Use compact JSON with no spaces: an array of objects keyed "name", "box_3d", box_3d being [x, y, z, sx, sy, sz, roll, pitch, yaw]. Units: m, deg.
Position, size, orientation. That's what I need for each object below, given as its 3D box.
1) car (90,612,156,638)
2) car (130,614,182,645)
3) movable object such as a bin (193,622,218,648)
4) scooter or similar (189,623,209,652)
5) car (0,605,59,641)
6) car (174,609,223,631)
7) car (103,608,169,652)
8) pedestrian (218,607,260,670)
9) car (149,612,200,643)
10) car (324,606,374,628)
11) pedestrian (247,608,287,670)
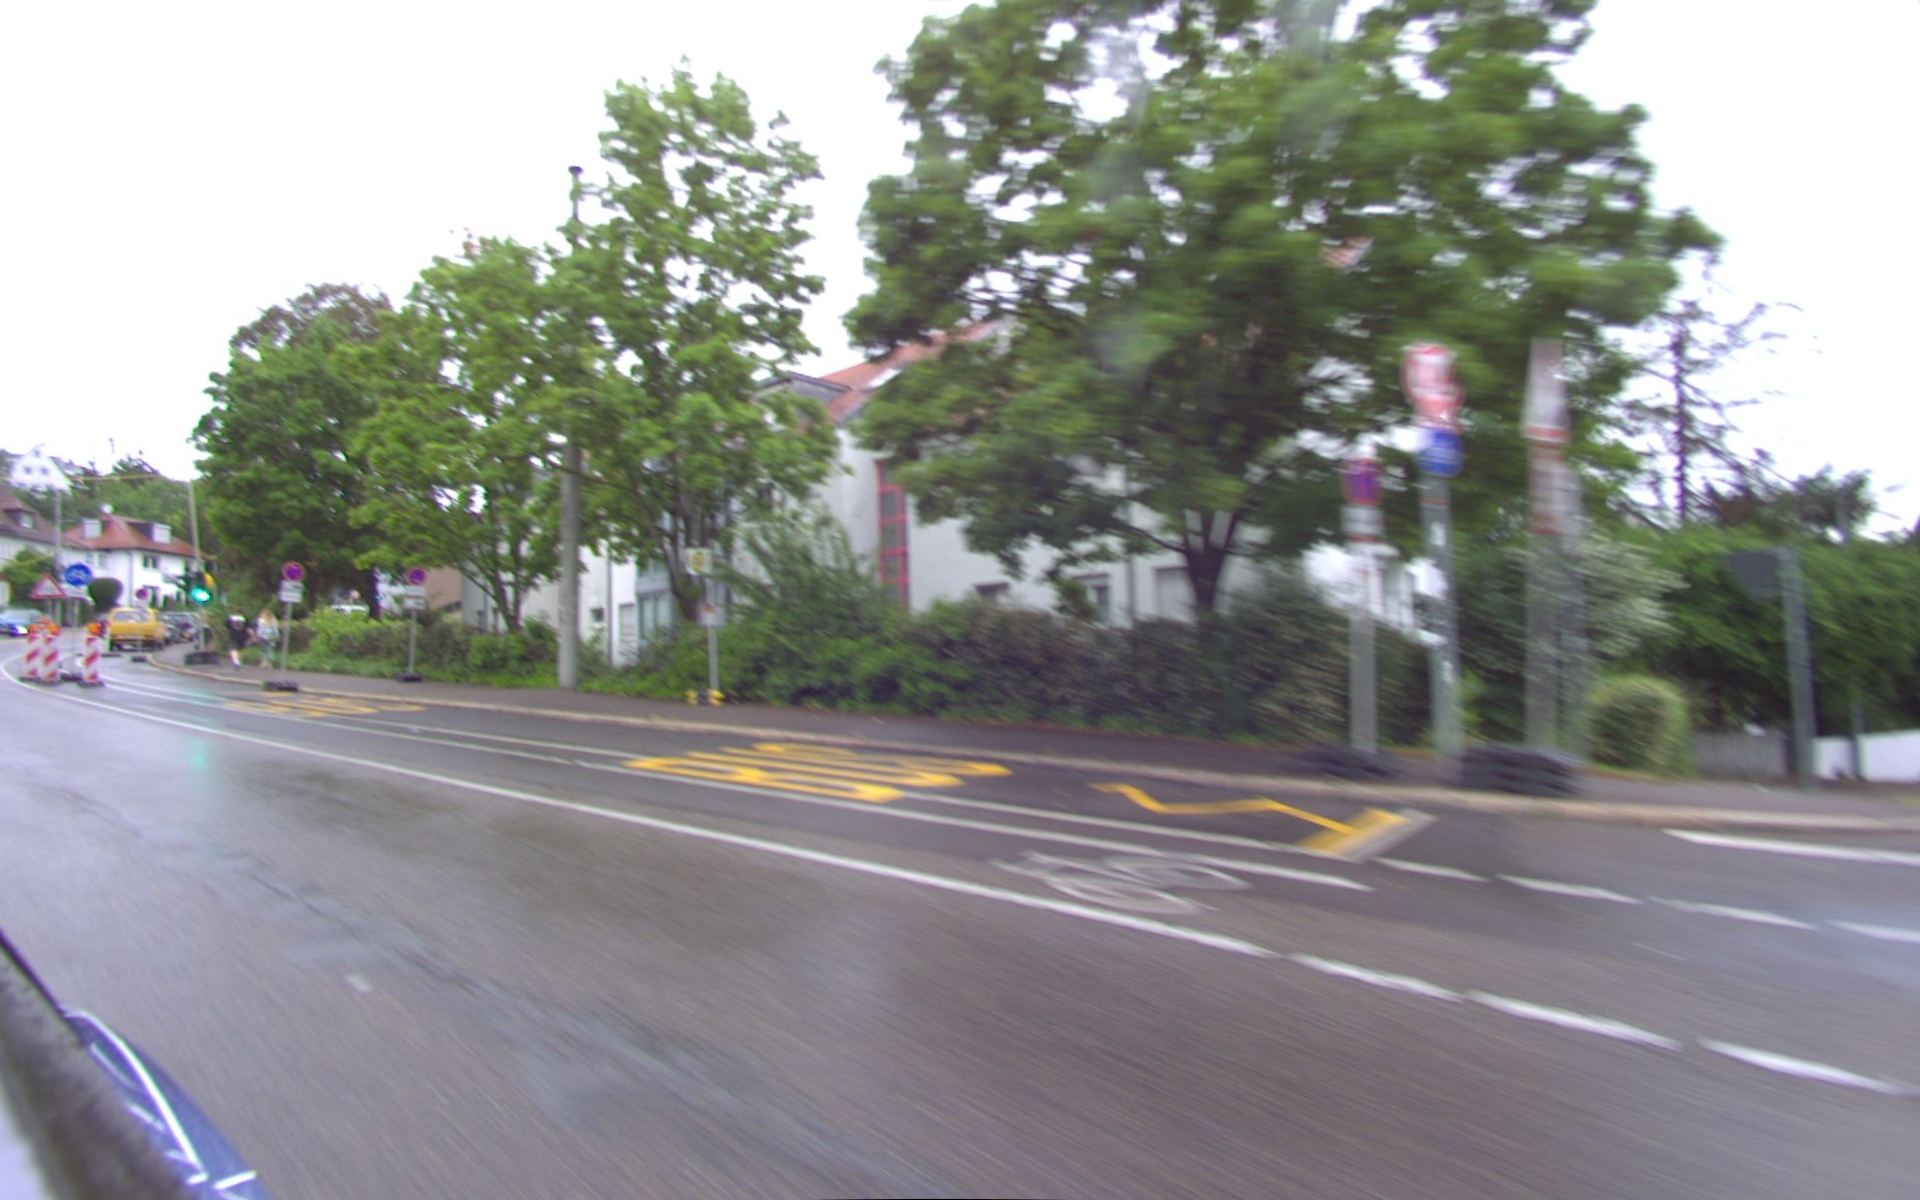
[{"name":"car","box_3d":[-51.161,1.528,61.962,1.675,1.472,4.698,3,-3,-21]},{"name":"car","box_3d":[-41.375,1.491,52.122,1.552,1.465,3.475,3,-1,-30]},{"name":"movable object such as a bin","box_3d":[-33.831,1.572,45.384,0.847,1.149,0.714,1,0,-35]},{"name":"scooter or similar","box_3d":[-34.581,1.691,45.984,0.393,1.270,1.322,-2,1,-22]},{"name":"car","box_3d":[-53.689,1.281,57.756,1.981,1.954,4.013,1,0,-20]},{"name":"car","box_3d":[-54.014,1.438,71.832,1.675,1.472,3.947,3,-3,-20]},{"name":"car","box_3d":[-38.596,1.377,47.513,1.778,1.942,4.590,3,-2,-32]},{"name":"pedestrian","box_3d":[-21.224,1.125,29.777,1.146,1.830,0.700,-2,-2,39]},{"name":"car","box_3d":[-44.306,1.527,57.164,1.696,1.620,4.476,1,-1,-30]},{"name":"car","box_3d":[-52.730,1.452,87.452,1.784,1.814,4.465,1,-1,-3]},{"name":"pedestrian","box_3d":[-20.818,1.160,30.401,1.154,1.830,0.674,-2,-2,39]}]
